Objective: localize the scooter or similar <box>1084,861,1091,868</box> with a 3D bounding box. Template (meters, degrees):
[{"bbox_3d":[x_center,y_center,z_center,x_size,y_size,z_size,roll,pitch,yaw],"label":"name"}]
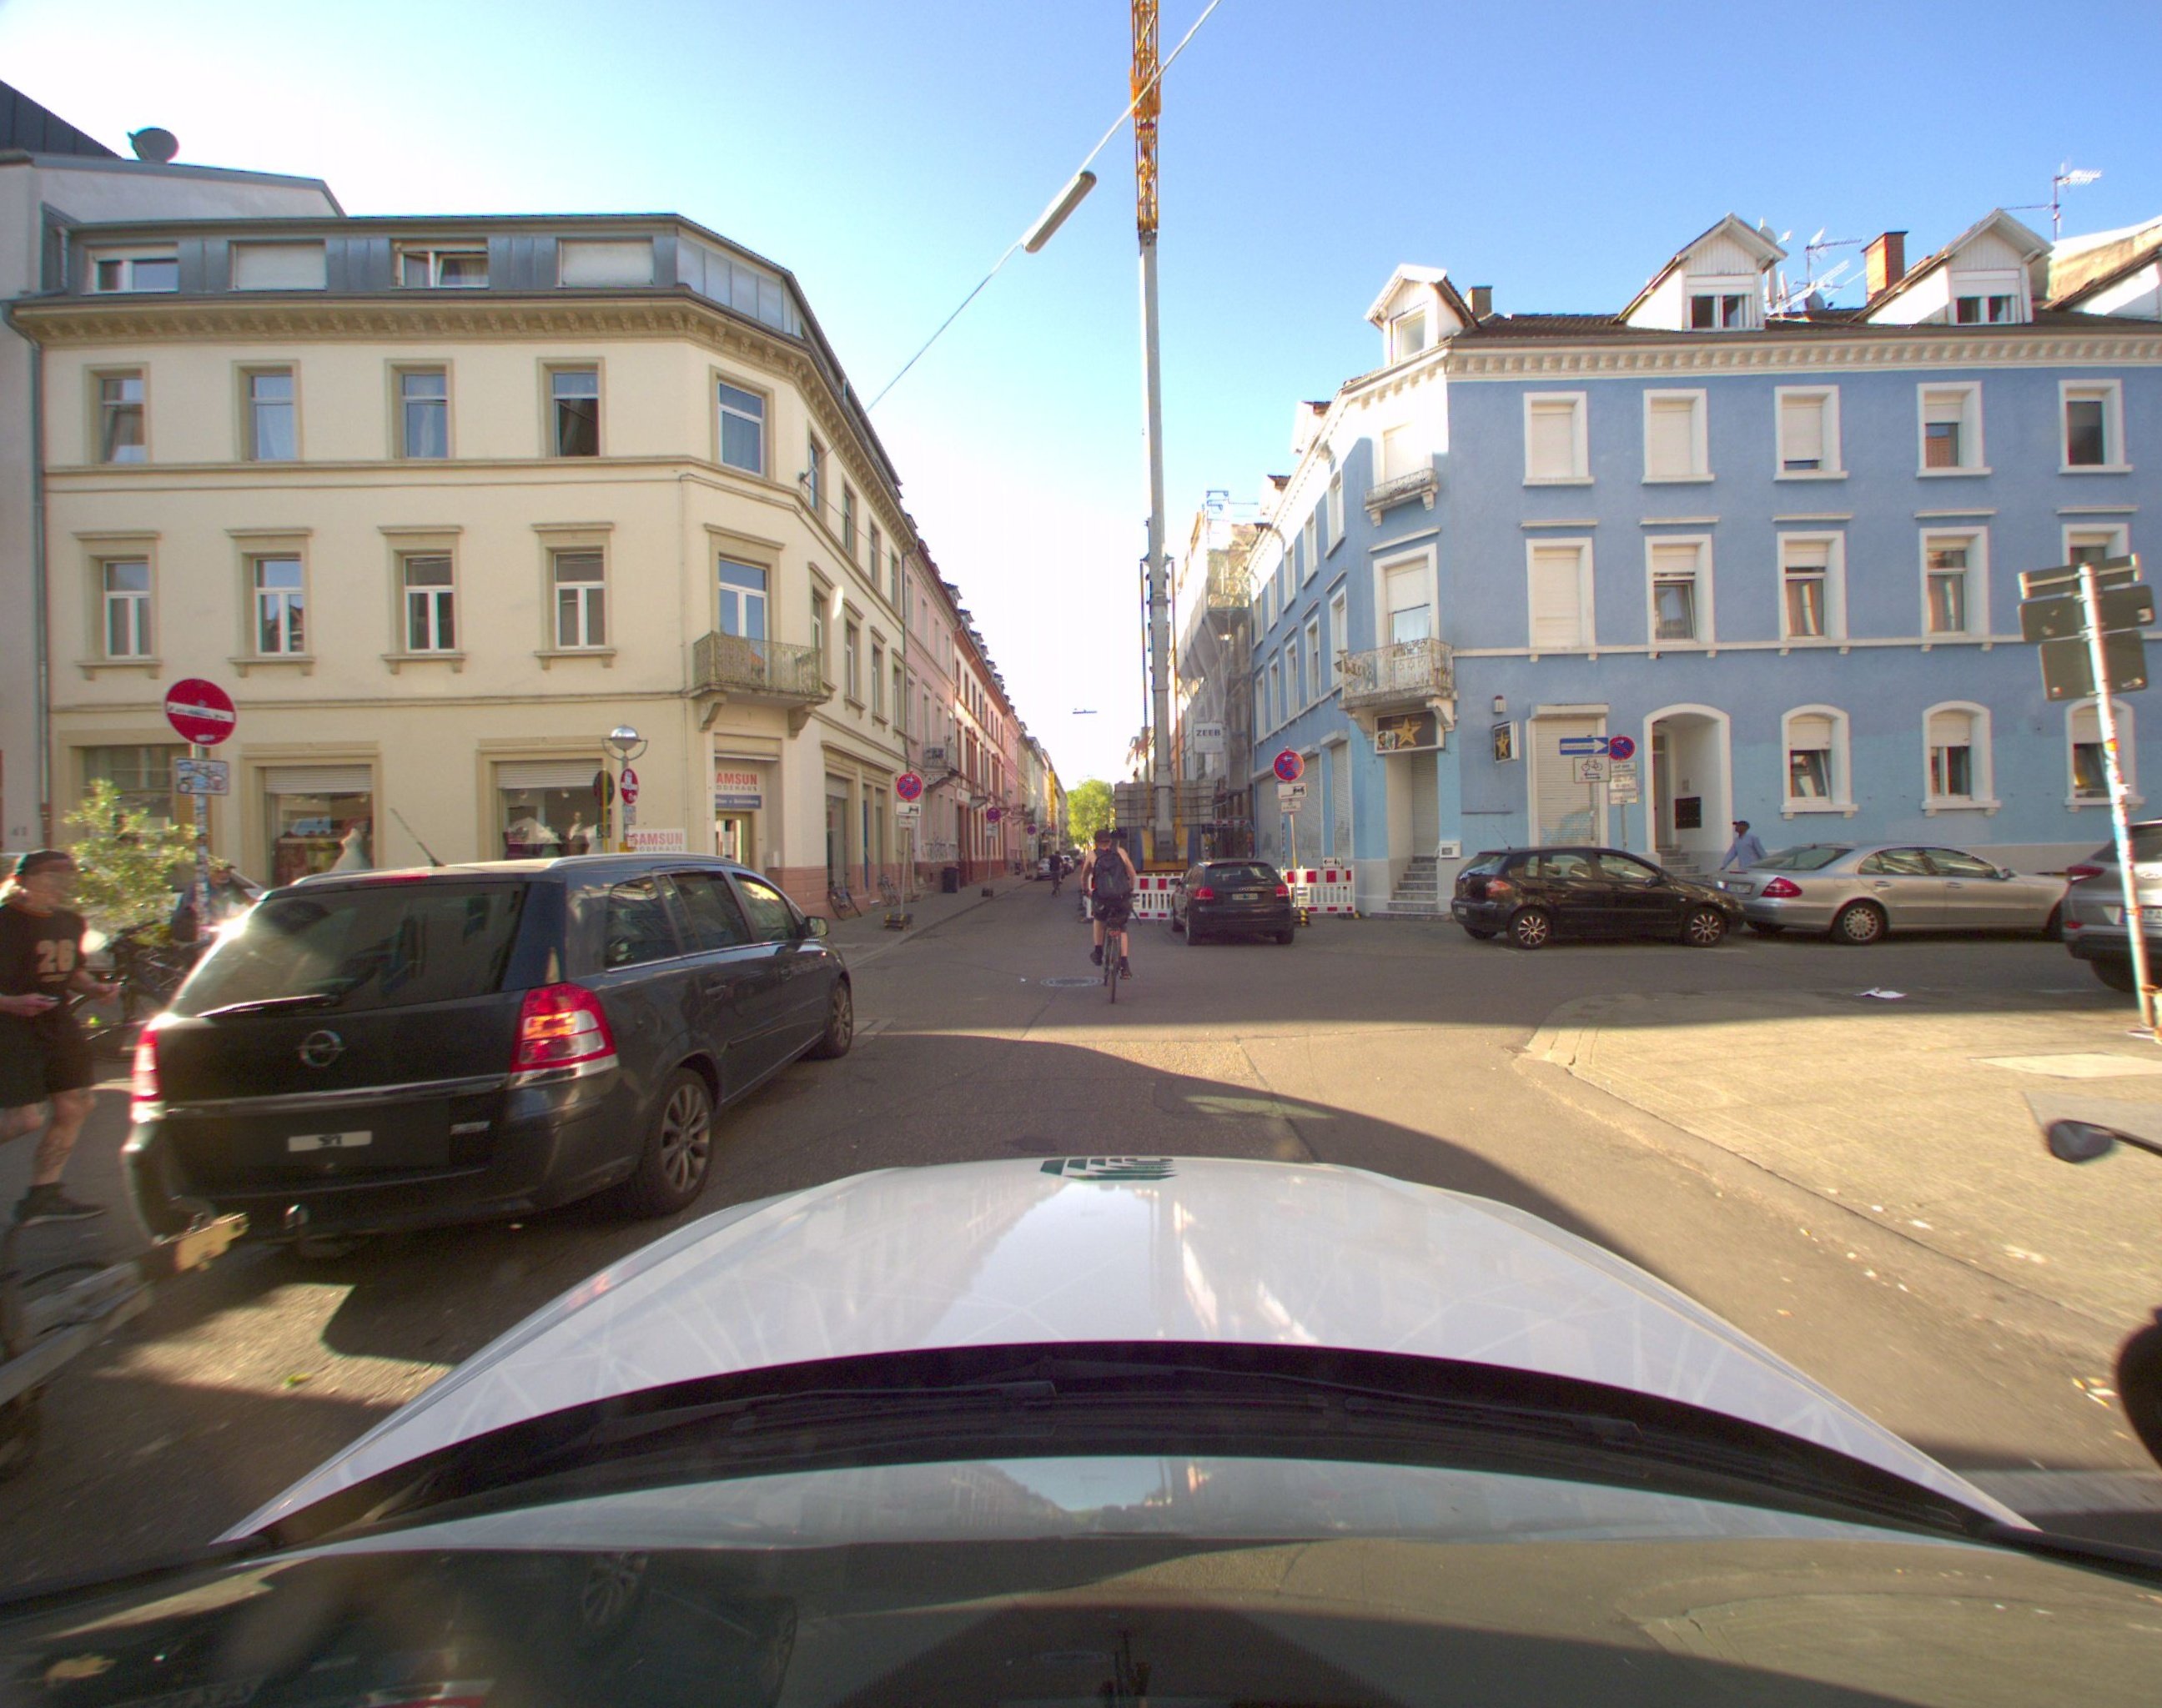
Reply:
[{"bbox_3d":[0.813,1.299,99.115,0.769,0.873,0.770,0,-1,-3],"label":"scooter or similar"}]

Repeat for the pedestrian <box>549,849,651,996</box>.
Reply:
[{"bbox_3d":[-5.965,0.820,10.148,0.691,1.701,0.865,3,2,0],"label":"pedestrian"}]

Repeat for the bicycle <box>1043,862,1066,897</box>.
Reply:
[{"bbox_3d":[-0.989,0.945,30.993,0.699,1.208,2.342,-3,1,0],"label":"bicycle"}]

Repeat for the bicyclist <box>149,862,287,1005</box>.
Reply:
[{"bbox_3d":[-9.273,0.817,8.789,0.791,1.436,0.704,-1,0,-26],"label":"bicyclist"}]

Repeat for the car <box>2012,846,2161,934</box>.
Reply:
[{"bbox_3d":[17.077,0.479,12.241,4.136,1.228,1.757,-1,-1,1],"label":"car"}]

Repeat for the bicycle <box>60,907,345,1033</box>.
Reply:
[{"bbox_3d":[-9.322,1.192,8.762,1.938,1.111,0.704,-1,0,-26],"label":"bicycle"}]

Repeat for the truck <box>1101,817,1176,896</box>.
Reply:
[{"bbox_3d":[2.134,0.127,32.674,2.652,2.814,7.394,0,-1,1],"label":"truck"}]

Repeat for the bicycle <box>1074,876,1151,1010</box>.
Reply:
[{"bbox_3d":[0.318,0.867,8.855,0.699,1.208,2.342,-1,-1,1],"label":"bicycle"}]

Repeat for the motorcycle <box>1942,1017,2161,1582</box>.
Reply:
[{"bbox_3d":[2.455,0.953,1.073,0.714,1.086,2.002,-5,-2,11],"label":"motorcycle"}]

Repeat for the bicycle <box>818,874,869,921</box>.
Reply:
[{"bbox_3d":[-5.568,0.991,19.203,0.601,1.022,1.818,2,-1,1],"label":"bicycle"}]

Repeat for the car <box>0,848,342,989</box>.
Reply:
[{"bbox_3d":[-14.250,0.883,11.858,5.074,1.850,1.855,-1,0,-4],"label":"car"}]

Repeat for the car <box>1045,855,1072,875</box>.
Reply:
[{"bbox_3d":[-1.751,0.871,64.506,1.703,1.383,4.359,-2,1,3],"label":"car"}]

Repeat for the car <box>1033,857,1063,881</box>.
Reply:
[{"bbox_3d":[-2.140,0.960,53.875,1.705,1.383,4.506,-4,-1,1],"label":"car"}]

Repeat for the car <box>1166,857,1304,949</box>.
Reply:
[{"bbox_3d":[2.636,0.779,14.853,1.766,1.434,4.033,-1,0,0],"label":"car"}]

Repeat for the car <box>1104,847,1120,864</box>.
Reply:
[{"bbox_3d":[4.898,0.204,130.188,2.300,2.538,6.770,-4,-1,1],"label":"car"}]

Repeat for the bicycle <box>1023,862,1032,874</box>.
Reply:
[{"bbox_3d":[-4.832,1.273,73.216,0.590,1.089,2.079,0,-1,1],"label":"bicycle"}]

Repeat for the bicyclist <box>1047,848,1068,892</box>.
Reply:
[{"bbox_3d":[-0.886,0.599,30.844,0.699,1.605,0.813,-3,1,0],"label":"bicyclist"}]

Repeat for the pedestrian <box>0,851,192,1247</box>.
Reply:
[{"bbox_3d":[-4.734,0.822,3.734,0.625,1.644,0.581,0,-2,7],"label":"pedestrian"}]

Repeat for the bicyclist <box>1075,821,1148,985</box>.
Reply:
[{"bbox_3d":[0.315,0.498,8.769,0.699,1.633,1.090,-1,-1,1],"label":"bicyclist"}]

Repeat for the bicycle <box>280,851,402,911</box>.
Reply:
[{"bbox_3d":[-14.229,0.521,15.670,1.911,1.122,0.613,0,-1,6],"label":"bicycle"}]

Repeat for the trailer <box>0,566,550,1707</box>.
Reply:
[{"bbox_3d":[-2.624,0.565,0.575,1.657,2.061,4.360,-3,-1,-2],"label":"trailer"}]

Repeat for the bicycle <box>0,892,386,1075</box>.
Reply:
[{"bbox_3d":[-7.598,1.062,6.982,2.467,1.359,0.929,-2,-1,1],"label":"bicycle"}]

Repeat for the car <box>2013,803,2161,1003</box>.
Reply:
[{"bbox_3d":[10.866,0.368,6.759,4.045,1.632,1.856,-1,-2,1],"label":"car"}]

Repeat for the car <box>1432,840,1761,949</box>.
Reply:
[{"bbox_3d":[7.545,0.564,12.193,3.854,1.453,1.677,-1,0,0],"label":"car"}]

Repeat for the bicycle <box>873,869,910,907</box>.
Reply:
[{"bbox_3d":[-5.514,0.977,23.807,0.620,1.022,1.818,0,0,1],"label":"bicycle"}]

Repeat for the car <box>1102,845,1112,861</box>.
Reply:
[{"bbox_3d":[6.443,-0.174,203.138,2.300,3.767,6.770,-4,-1,1],"label":"car"}]

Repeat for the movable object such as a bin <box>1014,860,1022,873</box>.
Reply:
[{"bbox_3d":[-4.652,0.944,59.991,0.541,0.945,0.487,0,-1,1],"label":"movable object such as a bin"}]

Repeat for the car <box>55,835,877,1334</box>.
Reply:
[{"bbox_3d":[-2.608,0.769,4.868,1.717,1.605,4.164,-3,0,-1],"label":"car"}]

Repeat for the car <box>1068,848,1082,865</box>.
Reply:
[{"bbox_3d":[-0.855,0.362,118.965,1.904,2.496,4.163,-2,0,-1],"label":"car"}]

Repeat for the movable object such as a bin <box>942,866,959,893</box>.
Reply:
[{"bbox_3d":[-5.193,1.016,32.458,0.603,1.035,0.596,0,-1,-1],"label":"movable object such as a bin"}]

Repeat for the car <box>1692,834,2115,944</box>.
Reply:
[{"bbox_3d":[11.989,0.465,12.118,4.452,1.434,1.758,-1,2,2],"label":"car"}]

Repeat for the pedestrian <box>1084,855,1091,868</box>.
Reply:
[{"bbox_3d":[0.785,0.958,99.549,0.769,1.578,0.899,0,-1,-3],"label":"pedestrian"}]

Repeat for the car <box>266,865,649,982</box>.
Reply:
[{"bbox_3d":[-8.849,0.943,11.856,4.128,1.455,1.758,-1,0,-2],"label":"car"}]

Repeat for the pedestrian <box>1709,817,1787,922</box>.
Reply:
[{"bbox_3d":[12.118,0.278,14.824,0.767,1.849,0.780,0,-1,0],"label":"pedestrian"}]

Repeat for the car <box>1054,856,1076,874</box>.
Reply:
[{"bbox_3d":[-1.381,0.979,71.445,1.666,1.441,4.165,-4,-1,1],"label":"car"}]

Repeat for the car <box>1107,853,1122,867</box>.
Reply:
[{"bbox_3d":[4.031,0.766,97.818,1.615,1.550,4.000,-4,-1,1],"label":"car"}]
